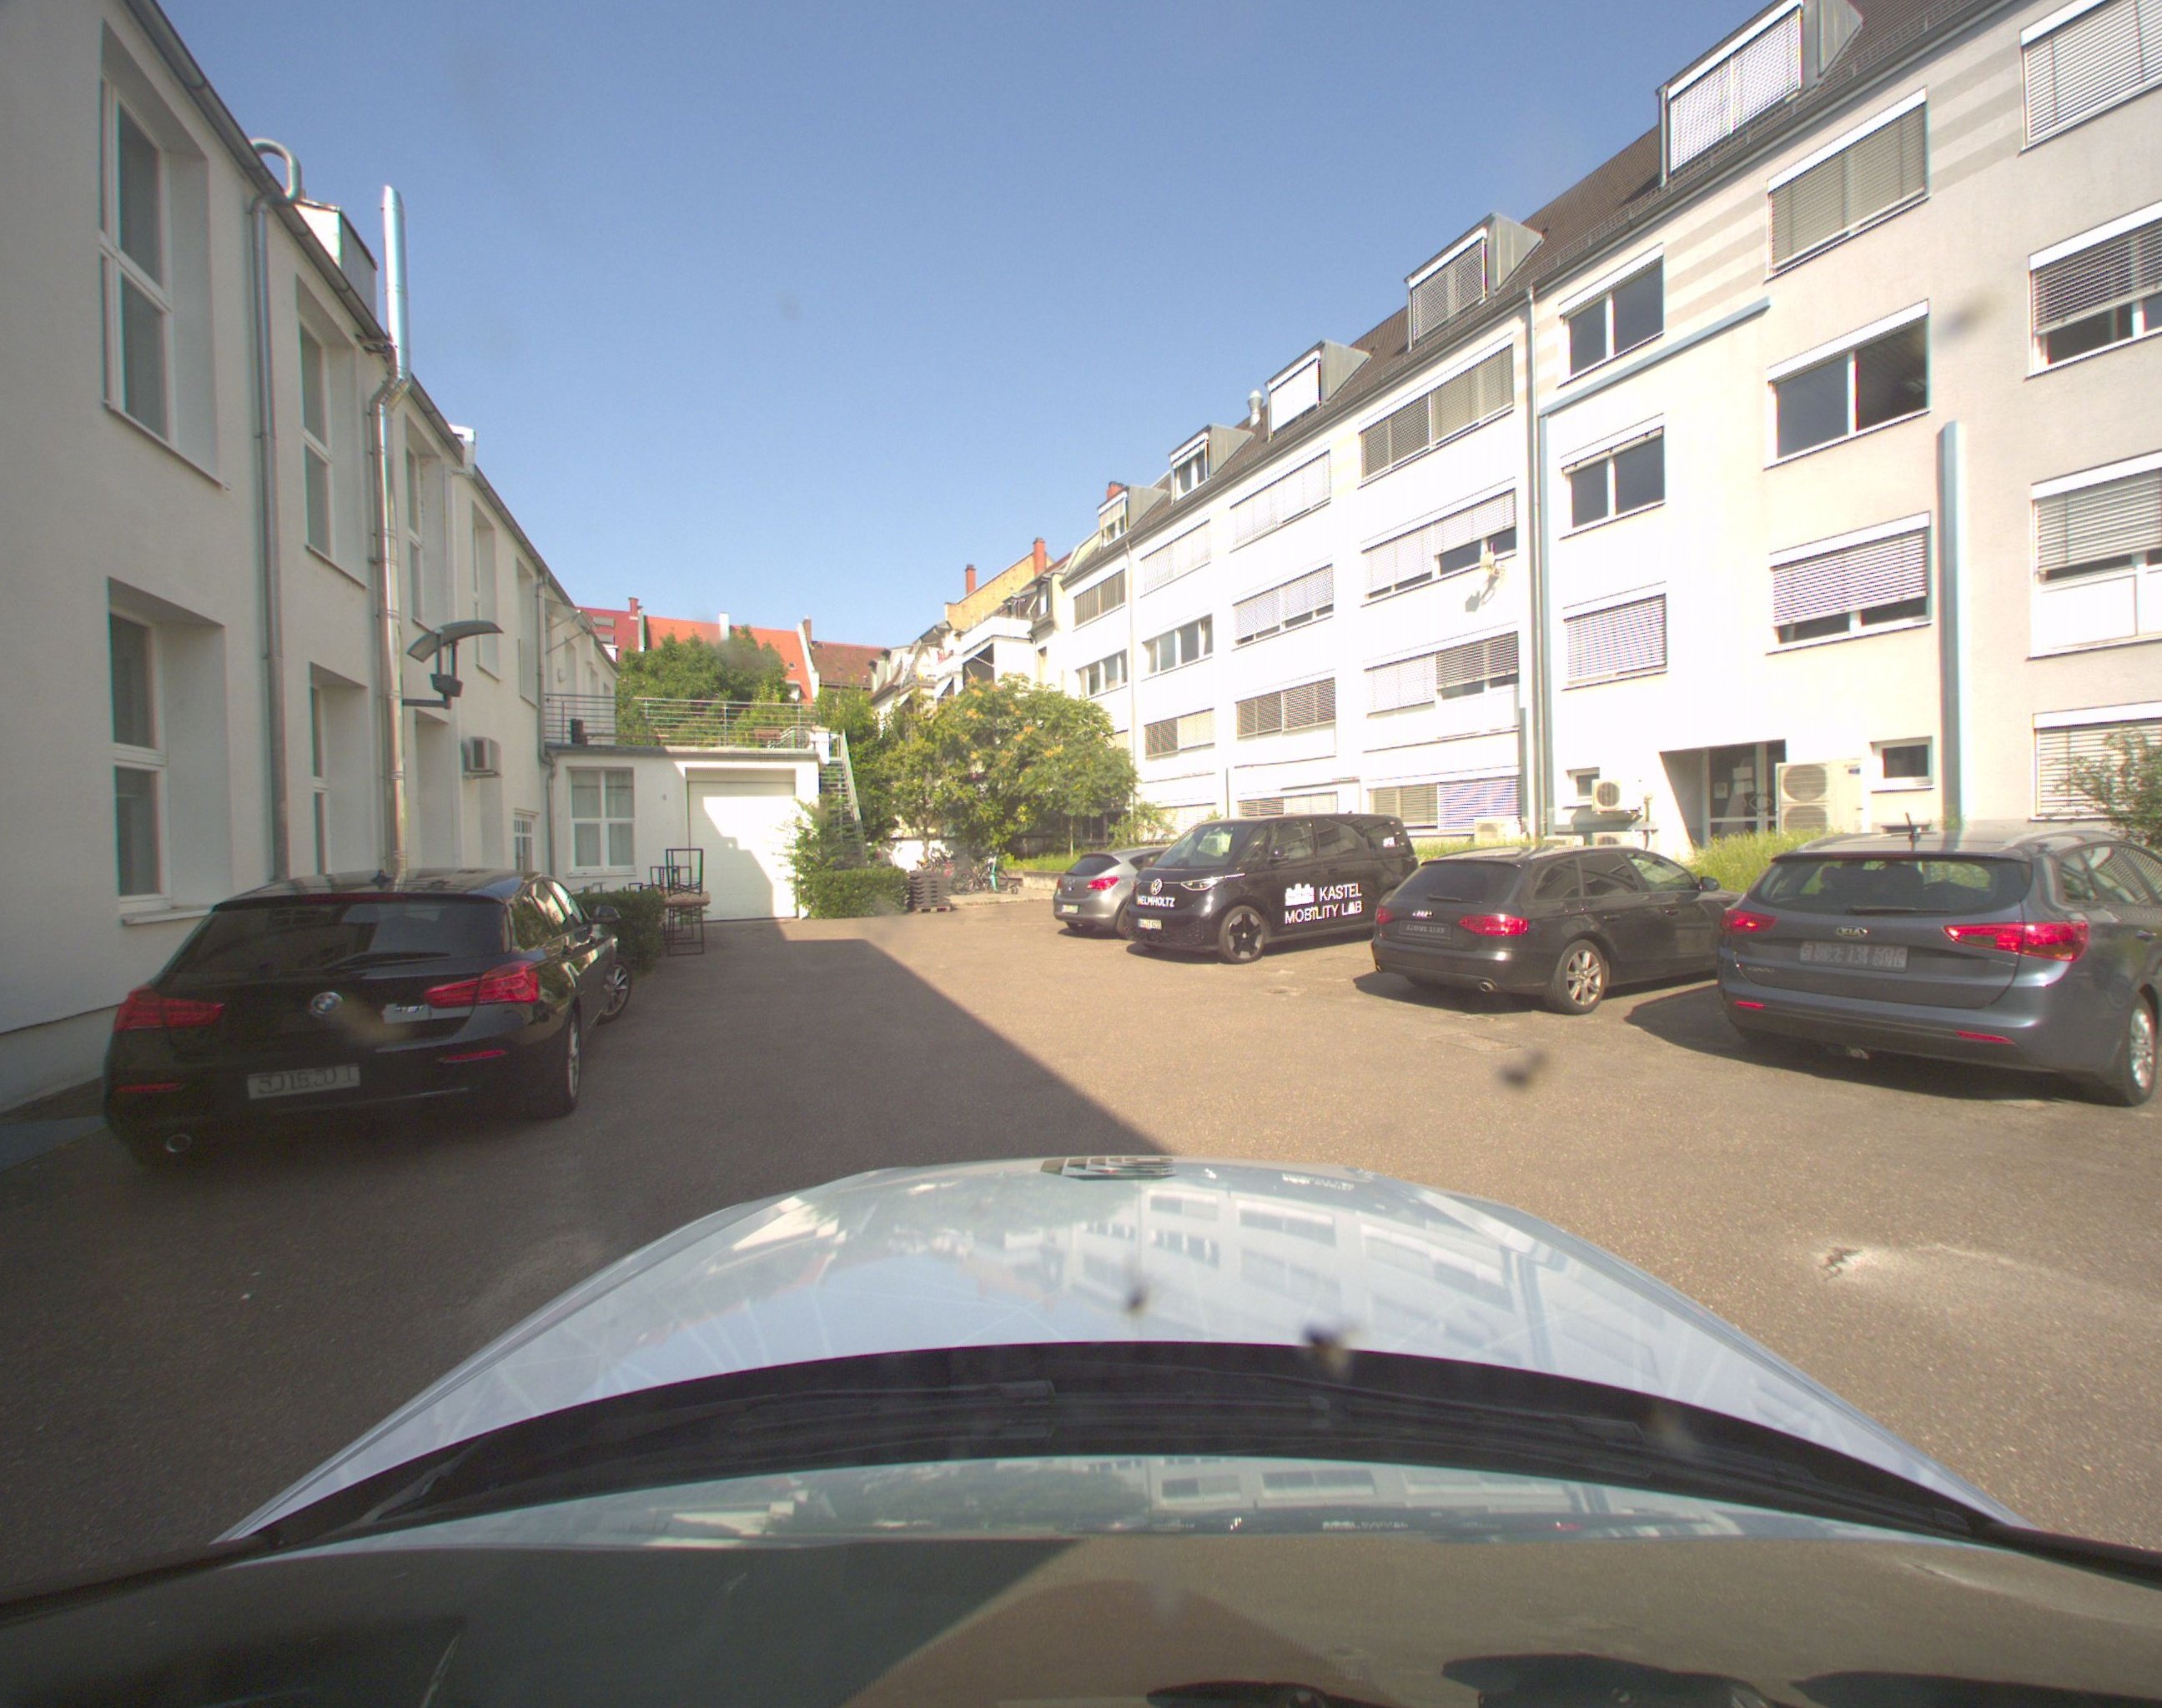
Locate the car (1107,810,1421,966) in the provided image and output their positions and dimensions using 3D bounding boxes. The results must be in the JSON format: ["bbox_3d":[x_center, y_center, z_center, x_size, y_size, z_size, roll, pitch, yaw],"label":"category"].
[{"bbox_3d":[2.719,0.340,11.781,4.365,1.858,1.895,-2,1,-33],"label":"car"}]

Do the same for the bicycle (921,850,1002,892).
[{"bbox_3d":[-3.705,0.508,25.347,2.421,1.246,0.522,-1,0,-23],"label":"bicycle"}]

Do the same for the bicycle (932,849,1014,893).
[{"bbox_3d":[-3.251,0.498,24.624,2.421,1.246,0.522,-1,0,-23],"label":"bicycle"}]

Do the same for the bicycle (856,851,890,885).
[{"bbox_3d":[-7.591,0.500,29.805,0.486,1.143,1.997,-2,2,5],"label":"bicycle"}]

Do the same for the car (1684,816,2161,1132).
[{"bbox_3d":[6.218,0.518,5.615,4.070,1.478,1.727,-2,1,-28],"label":"car"}]

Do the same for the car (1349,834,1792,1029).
[{"bbox_3d":[4.892,0.580,8.068,4.253,1.437,1.677,-2,1,-25],"label":"car"}]

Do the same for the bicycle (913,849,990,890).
[{"bbox_3d":[-4.216,0.485,26.508,2.421,1.246,0.522,-1,0,-23],"label":"bicycle"}]

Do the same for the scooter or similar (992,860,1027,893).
[{"bbox_3d":[-2.105,0.657,23.930,0.987,0.924,0.362,0,0,29],"label":"scooter or similar"}]

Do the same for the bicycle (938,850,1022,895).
[{"bbox_3d":[-2.968,0.523,24.013,2.421,1.246,0.522,-1,0,-23],"label":"bicycle"}]

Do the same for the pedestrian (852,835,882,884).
[{"bbox_3d":[-7.800,0.187,29.702,0.854,1.771,0.612,-1,0,5],"label":"pedestrian"}]

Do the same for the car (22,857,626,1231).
[{"bbox_3d":[-4.263,0.762,5.486,1.802,1.428,4.102,-1,1,-25],"label":"car"}]

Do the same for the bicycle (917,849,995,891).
[{"bbox_3d":[-3.967,0.491,25.909,2.421,1.246,0.522,-1,0,-24],"label":"bicycle"}]

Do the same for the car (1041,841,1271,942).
[{"bbox_3d":[1.392,0.559,14.346,3.927,1.466,1.644,-2,1,-36],"label":"car"}]
